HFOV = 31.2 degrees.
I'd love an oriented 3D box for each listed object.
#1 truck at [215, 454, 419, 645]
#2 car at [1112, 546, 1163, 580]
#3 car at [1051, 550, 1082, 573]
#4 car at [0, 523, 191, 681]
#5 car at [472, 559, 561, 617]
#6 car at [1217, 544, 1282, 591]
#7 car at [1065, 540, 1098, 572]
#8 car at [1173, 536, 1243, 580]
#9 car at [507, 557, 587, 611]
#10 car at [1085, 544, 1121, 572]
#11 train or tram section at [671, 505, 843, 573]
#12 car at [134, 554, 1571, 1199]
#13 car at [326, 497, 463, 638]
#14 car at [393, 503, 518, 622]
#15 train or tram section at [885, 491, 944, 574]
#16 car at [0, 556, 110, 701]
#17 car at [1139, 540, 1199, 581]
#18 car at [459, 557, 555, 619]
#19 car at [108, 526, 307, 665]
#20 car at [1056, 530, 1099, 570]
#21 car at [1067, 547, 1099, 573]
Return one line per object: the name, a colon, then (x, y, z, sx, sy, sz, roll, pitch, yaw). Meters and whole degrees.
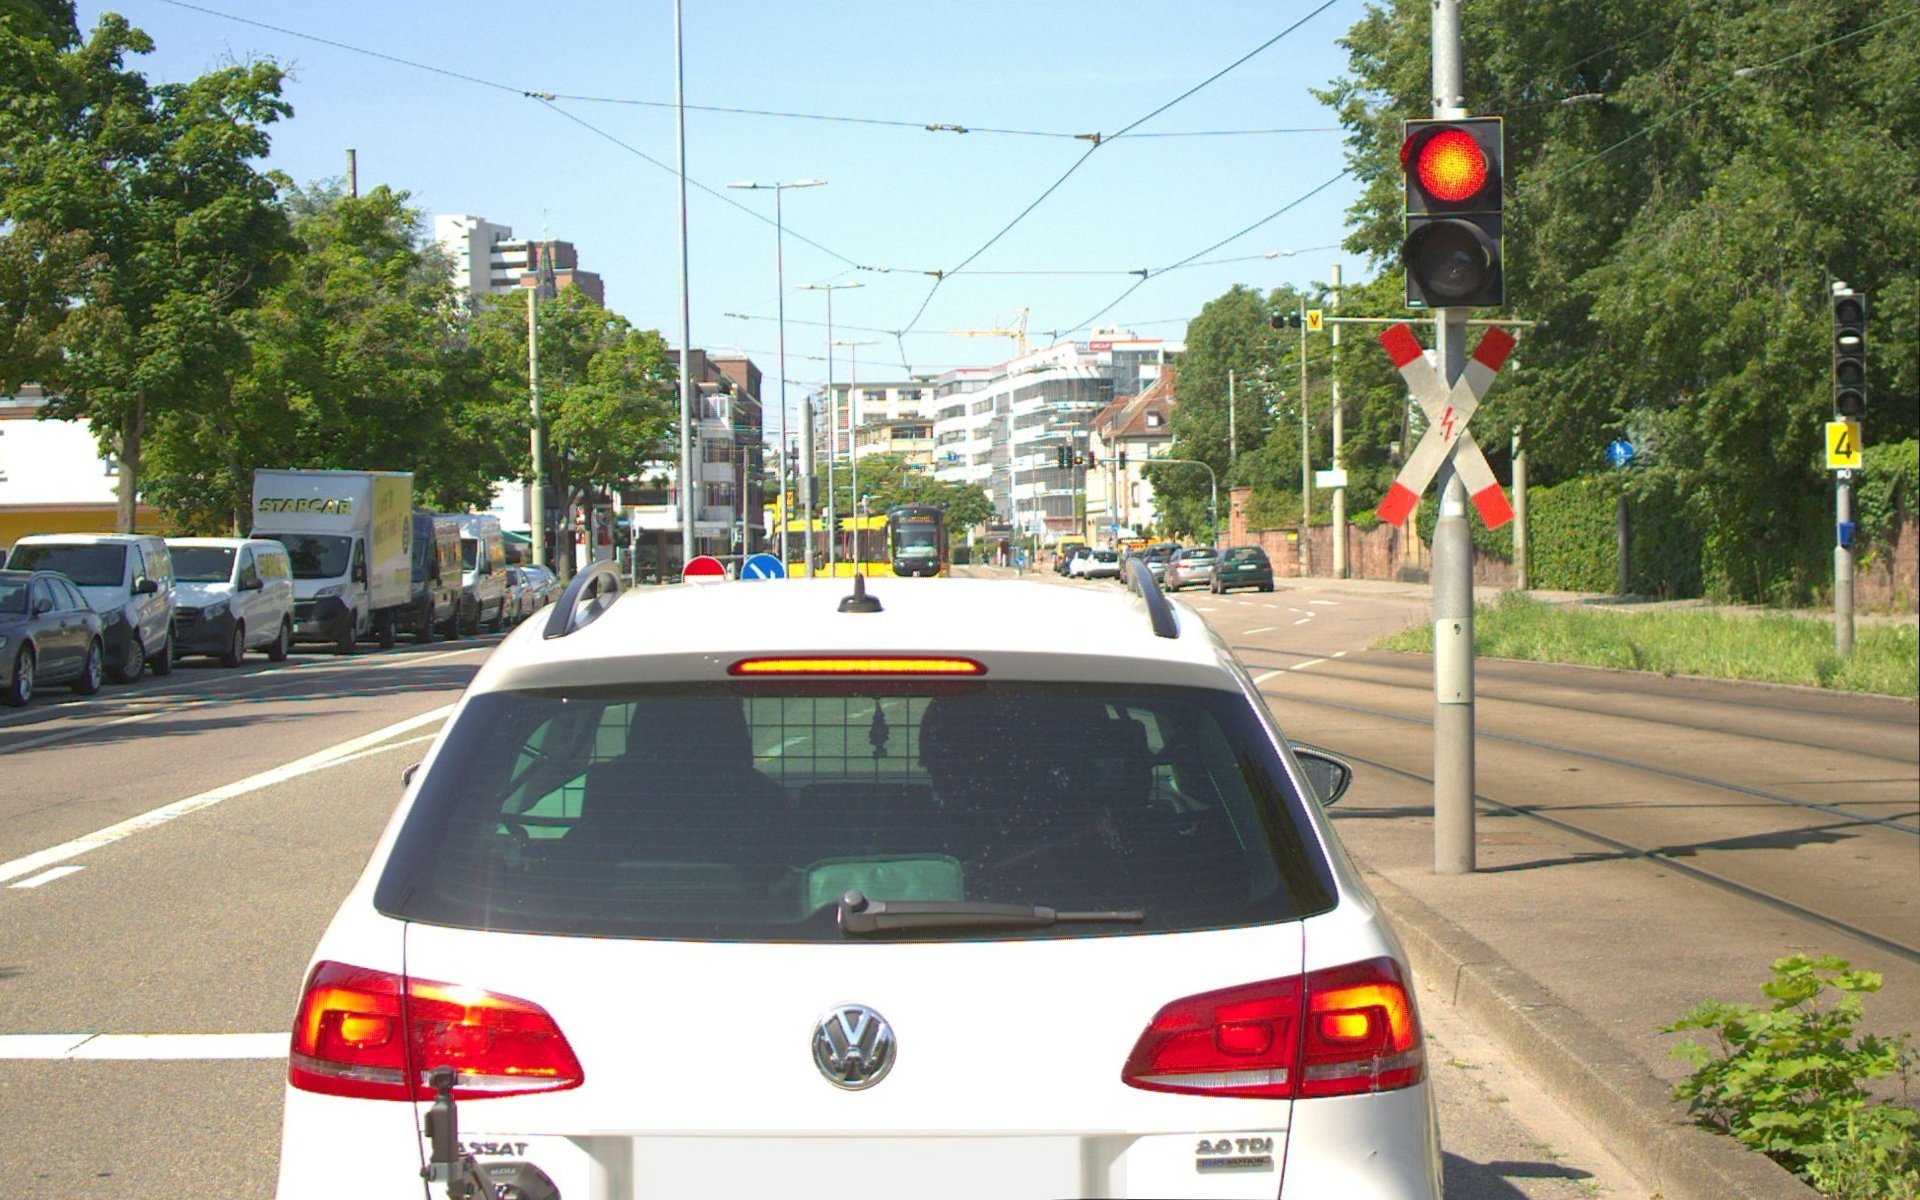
truck: (-11.174, -0.900, 60.297, 2.356, 3.112, 6.892, -1, 1, -1)
car: (7.597, -1.578, 147.344, 1.745, 1.403, 3.914, 1, 1, -3)
car: (7.368, -2.654, 237.631, 1.993, 1.590, 4.000, 1, 0, 0)
car: (-11.488, -0.020, 45.355, 1.843, 1.930, 5.195, -1, 1, -4)
car: (-11.700, -0.339, 90.924, 1.843, 1.428, 4.038, -1, 1, -1)
car: (8.707, -0.992, 103.631, 1.746, 1.383, 3.913, 1, 1, 2)
car: (7.107, -2.583, 201.198, 1.691, 1.806, 3.454, 1, 0, -1)
car: (8.367, -1.443, 116.337, 1.861, 1.412, 4.325, 1, 1, -2)
car: (-11.588, -0.459, 96.600, 1.780, 1.428, 4.038, -1, 1, -1)
car: (7.024, -2.070, 169.038, 1.581, 1.341, 3.454, 1, 0, -1)
train or tram section: (-10.132, -3.019, 170.251, 2.302, 3.241, 10.803, 1, 0, -41)
car: (-0.186, 0.664, 6.218, 1.768, 1.441, 3.913, 1, 1, -1)
car: (-11.155, -0.668, 68.114, 1.843, 2.659, 5.003, -1, 1, 0)
car: (-11.081, -0.858, 75.904, 1.843, 2.486, 5.857, -1, 1, 0)
train or tram section: (-1.834, -2.705, 141.911, 2.301, 3.241, 11.275, 1, 0, 0)
car: (-10.993, 0.301, 38.636, 1.843, 1.511, 4.197, -1, 1, -1)
car: (7.965, -1.518, 131.271, 1.861, 1.508, 3.913, 1, 1, -2)
car: (-11.230, -0.322, 85.458, 1.843, 1.428, 4.038, -1, 1, -1)
car: (-11.297, -0.114, 51.947, 1.843, 1.954, 5.134, -1, 1, 0)
car: (7.547, -3.221, 221.053, 2.463, 2.490, 5.910, 1, 0, -1)
car: (6.713, -2.184, 188.069, 1.581, 1.341, 3.454, 1, 0, -1)
